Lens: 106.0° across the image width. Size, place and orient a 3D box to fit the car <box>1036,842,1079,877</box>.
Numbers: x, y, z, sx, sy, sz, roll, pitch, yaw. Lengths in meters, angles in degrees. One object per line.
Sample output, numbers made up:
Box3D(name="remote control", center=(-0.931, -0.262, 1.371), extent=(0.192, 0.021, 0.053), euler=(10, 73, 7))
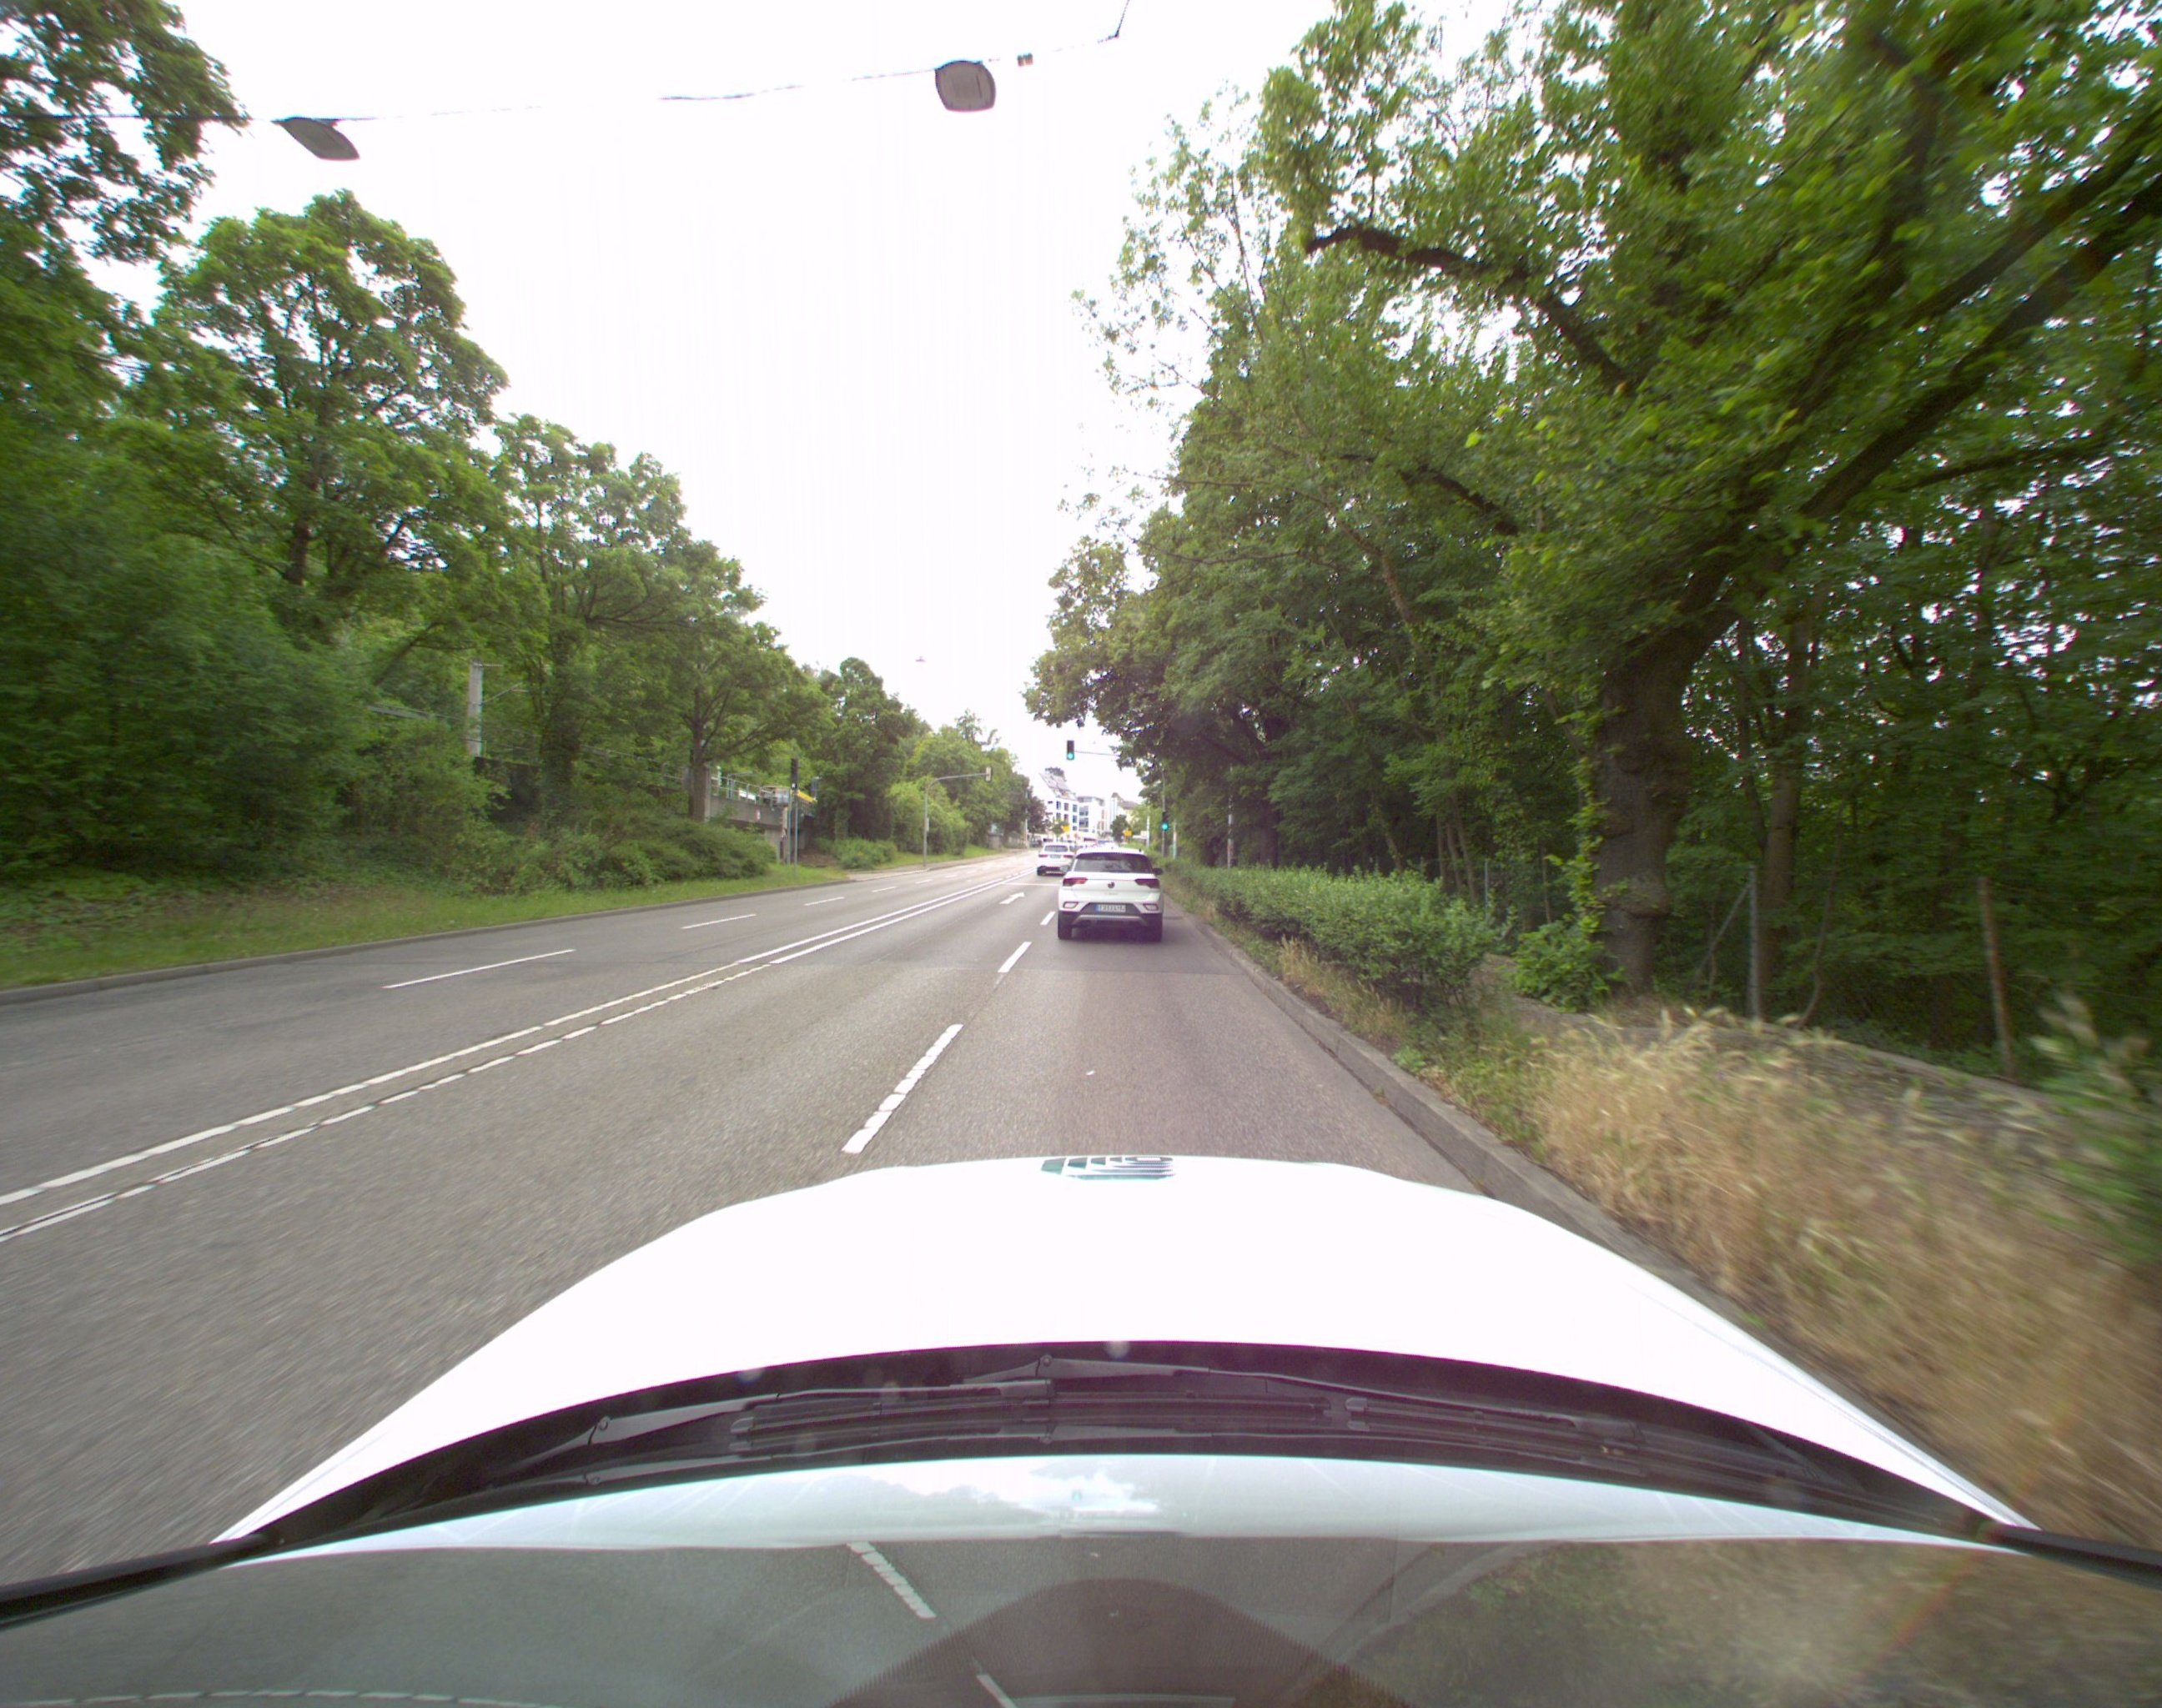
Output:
Box3D(name="car", center=(-1.129, 0.244, 41.272), extent=(1.911, 1.669, 4.002), euler=(0, 1, 2))

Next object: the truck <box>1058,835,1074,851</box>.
Box3D(name="truck", center=(-2.499, -1.899, 138.216), extent=(2.353, 2.706, 4.480), euler=(-1, 1, 2))

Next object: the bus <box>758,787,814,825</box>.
Box3D(name="bus", center=(-25.963, -4.139, 72.109), extent=(2.535, 2.789, 7.933), euler=(0, -1, -3))

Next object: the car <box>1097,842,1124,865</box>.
Box3D(name="car", center=(2.039, -0.061, 56.354), extent=(1.822, 1.526, 4.002), euler=(0, 1, 2))

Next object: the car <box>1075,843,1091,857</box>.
Box3D(name="car", center=(0.258, -0.482, 95.838), extent=(1.822, 1.526, 4.002), euler=(0, 1, 2))

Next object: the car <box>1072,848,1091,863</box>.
Box3D(name="car", center=(0.060, 0.143, 85.084), extent=(1.822, 1.526, 4.002), euler=(0, 1, 2))

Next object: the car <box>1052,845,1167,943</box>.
Box3D(name="car", center=(0.515, 0.617, 15.006), extent=(1.822, 1.526, 4.002), euler=(1, 1, 2))

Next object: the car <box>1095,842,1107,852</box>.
Box3D(name="car", center=(3.282, -1.128, 133.083), extent=(1.822, 1.526, 4.002), euler=(0, 1, 2))

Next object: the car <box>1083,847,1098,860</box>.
Box3D(name="car", center=(1.188, -0.067, 103.391), extent=(1.822, 1.526, 4.002), euler=(0, 1, 2))
